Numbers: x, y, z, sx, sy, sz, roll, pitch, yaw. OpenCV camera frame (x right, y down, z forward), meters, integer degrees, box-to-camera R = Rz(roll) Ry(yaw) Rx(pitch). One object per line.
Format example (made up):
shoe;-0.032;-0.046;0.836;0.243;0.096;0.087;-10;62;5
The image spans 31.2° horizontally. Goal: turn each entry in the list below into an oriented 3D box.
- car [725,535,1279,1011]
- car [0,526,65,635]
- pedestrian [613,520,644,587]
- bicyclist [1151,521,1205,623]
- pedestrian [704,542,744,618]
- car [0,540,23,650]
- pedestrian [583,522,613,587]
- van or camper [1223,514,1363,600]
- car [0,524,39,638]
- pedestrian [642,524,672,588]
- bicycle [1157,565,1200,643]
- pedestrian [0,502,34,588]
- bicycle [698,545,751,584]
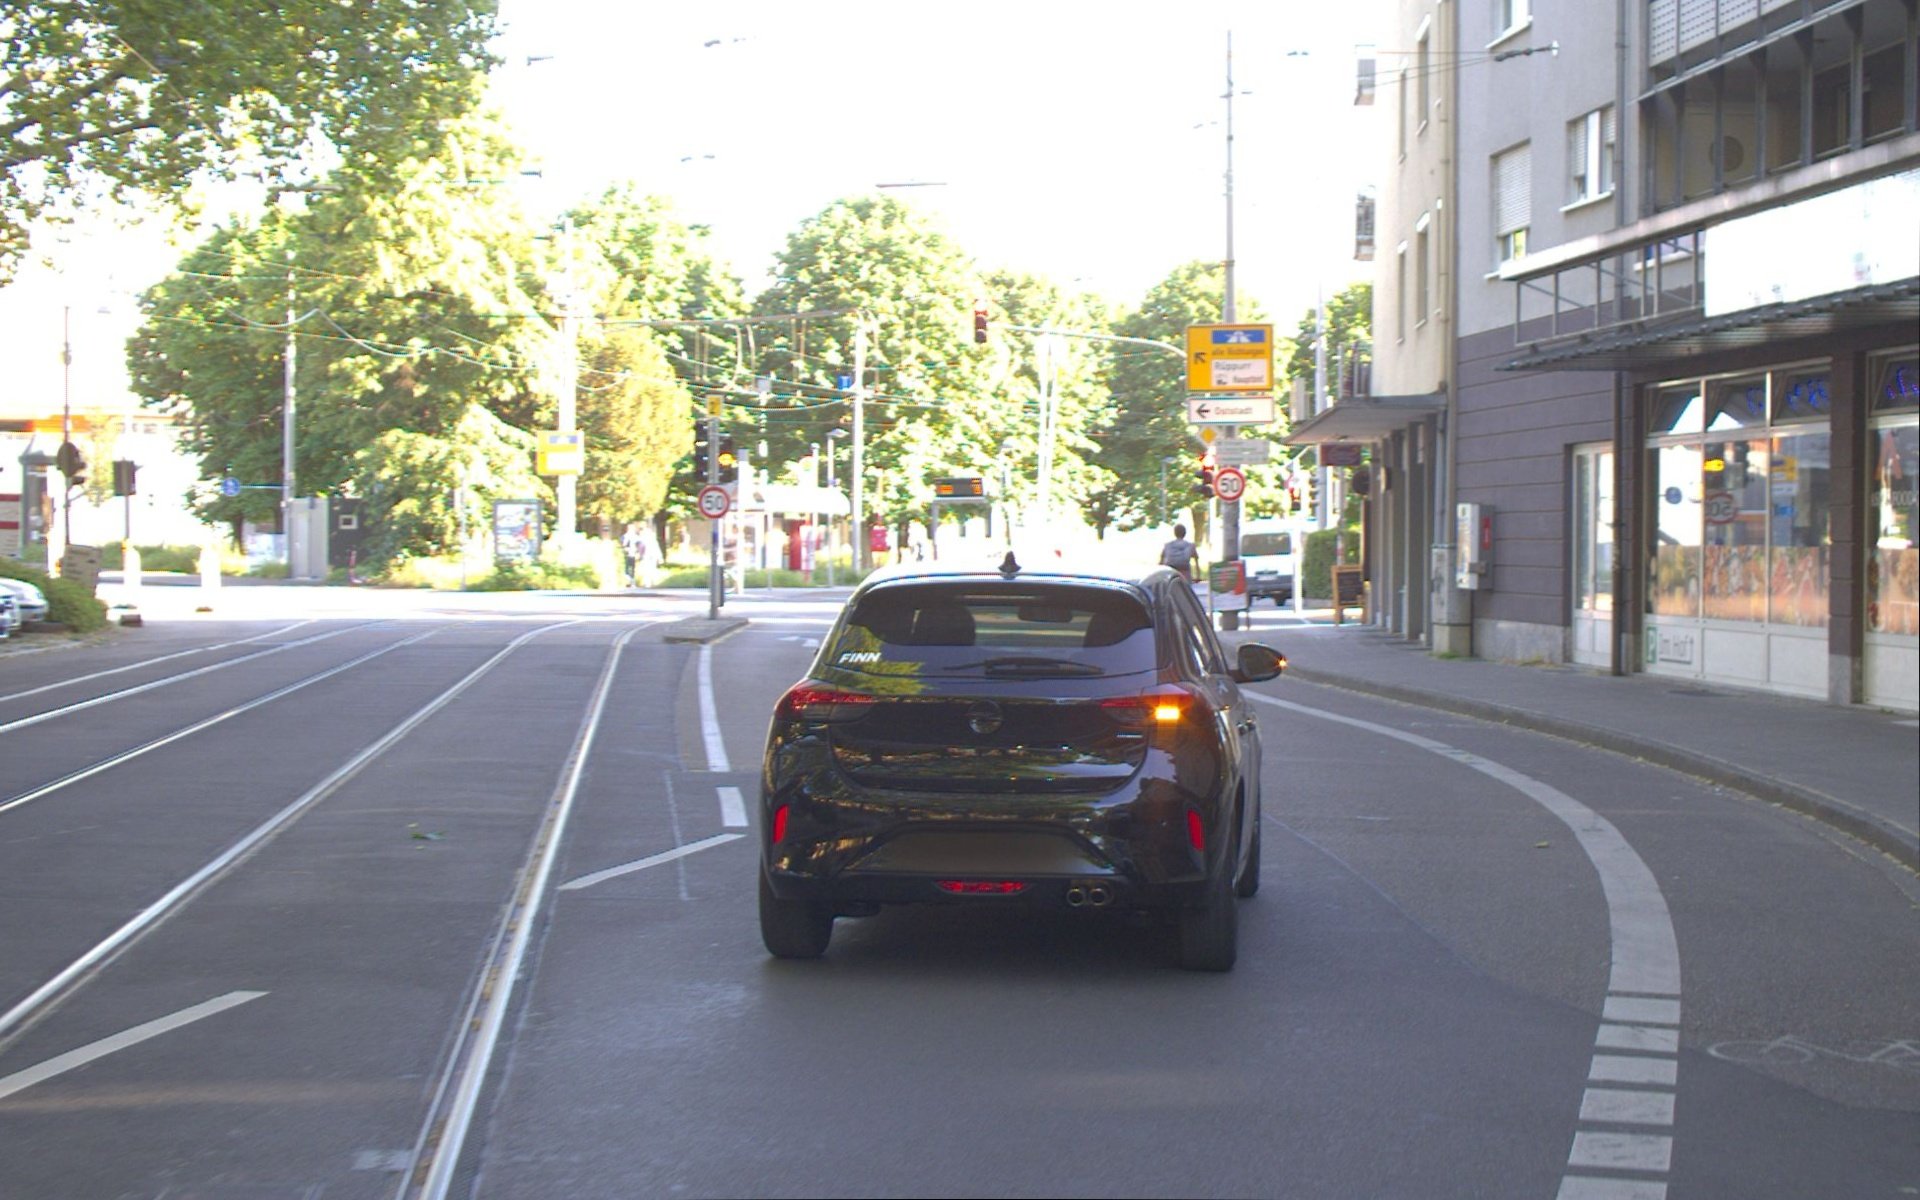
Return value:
car;0.276;0.522;13.177;1.781;1.491;4.000;1;1;4
car;-16.172;-0.316;53.418;4.167;1.665;1.965;0;1;-8
pedestrian;-9.644;-1.348;100.031;0.658;1.926;0.608;2;1;27
bicyclist;3.075;-0.397;48.497;0.706;1.430;0.702;0;1;7
pedestrian;-4.224;-0.365;61.618;0.653;1.359;0.645;0;1;2
car;-15.278;-0.120;47.915;3.986;1.510;1.650;1;1;-3
pedestrian;-10.494;-1.316;99.722;0.617;1.847;0.583;2;1;25
van or camper;8.660;-1.099;89.146;2.171;2.138;4.499;2;1;25
car;-15.938;-0.301;51.027;4.167;1.665;1.965;0;1;-8
pedestrian;-8.817;-1.280;100.045;0.617;1.847;0.583;2;1;20
bicycle;3.079;0.049;48.370;0.508;1.063;1.564;0;1;7
pedestrian;-24.754;-1.438;89.716;0.819;2.213;0.899;1;1;-39
bicycle;-6.118;-0.922;89.376;0.789;0.988;2.242;2;1;12
